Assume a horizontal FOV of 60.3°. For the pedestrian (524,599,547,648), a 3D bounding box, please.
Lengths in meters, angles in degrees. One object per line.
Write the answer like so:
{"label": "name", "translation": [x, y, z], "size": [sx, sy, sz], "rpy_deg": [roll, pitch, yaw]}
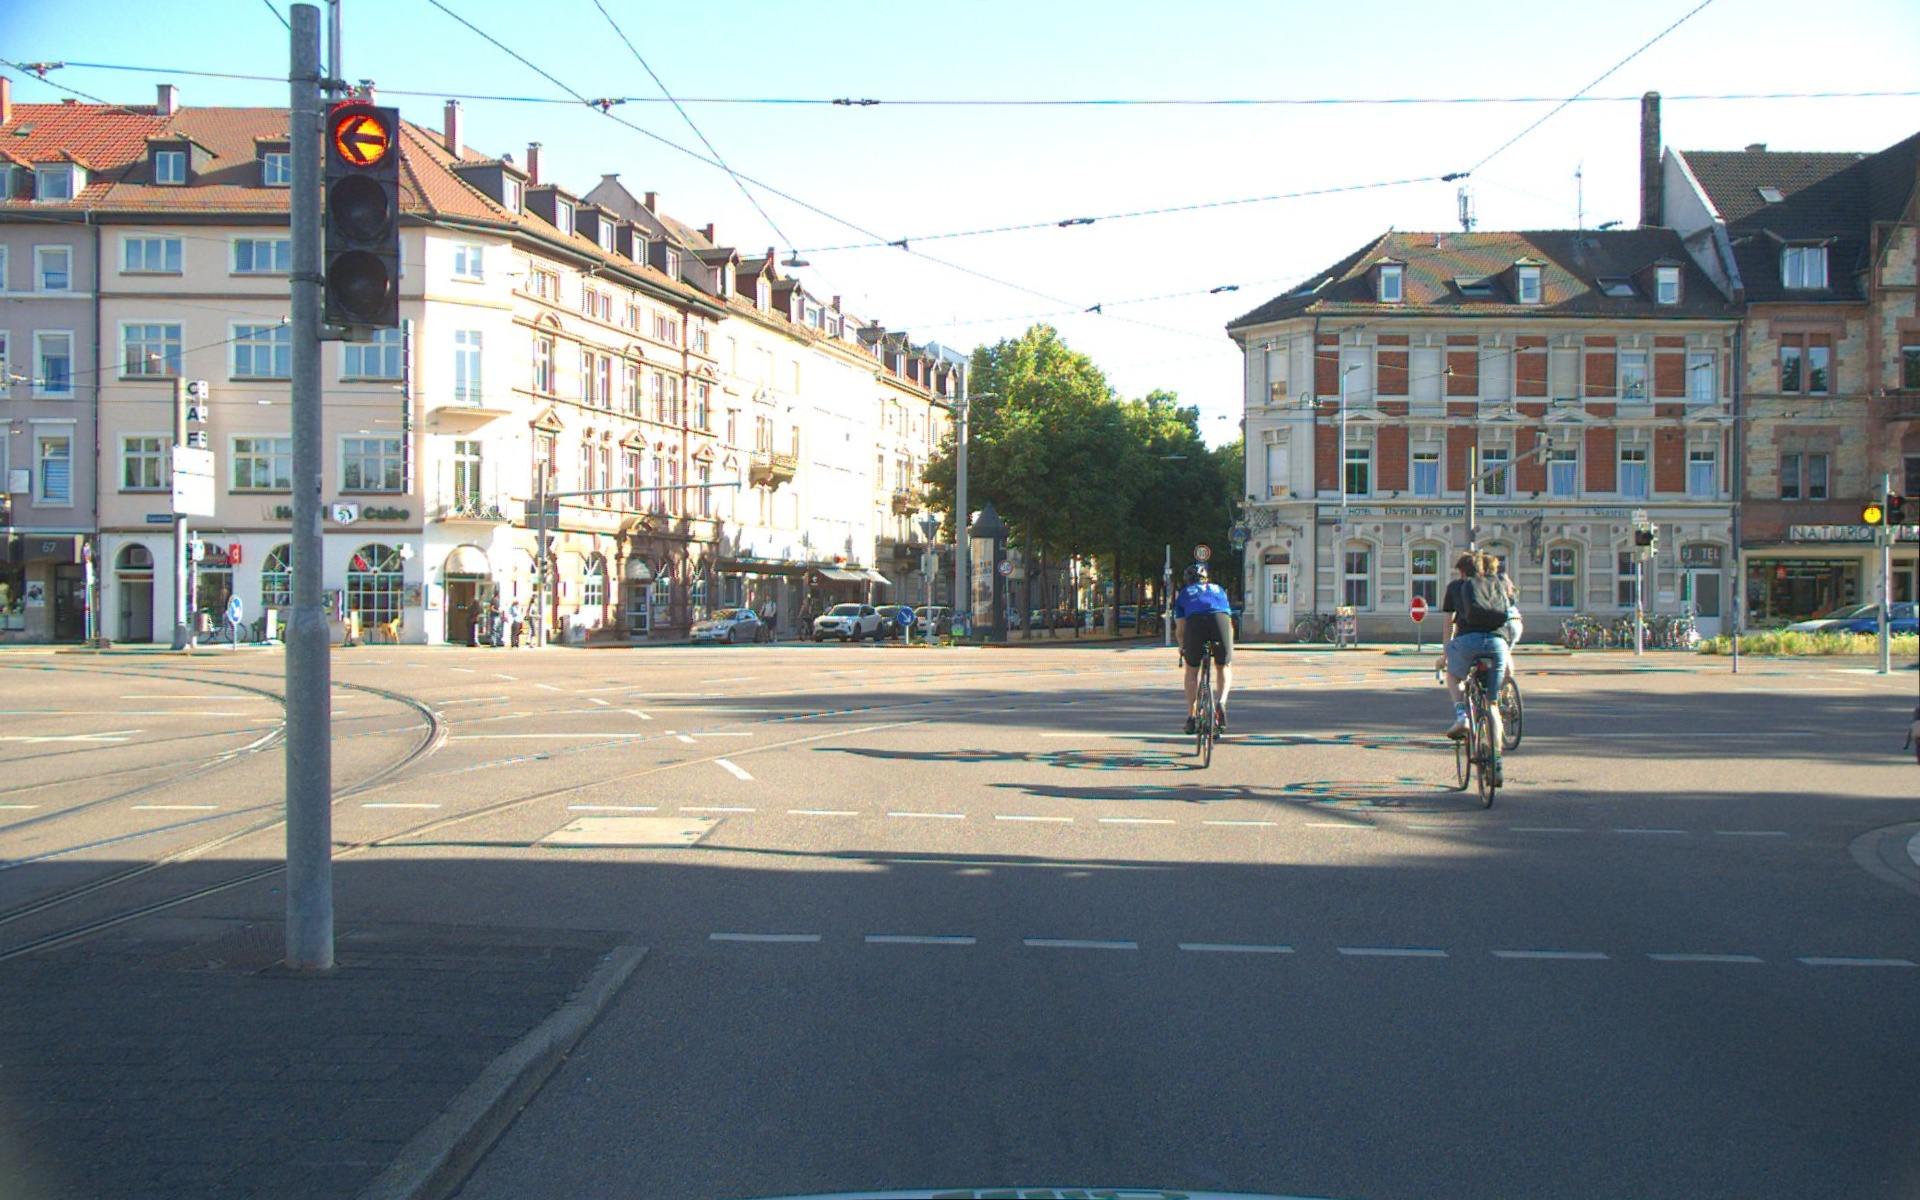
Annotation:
{"label": "pedestrian", "translation": [-14.609, 0.807, 56.986], "size": [0.620, 1.662, 0.700], "rpy_deg": [1, -1, -4]}

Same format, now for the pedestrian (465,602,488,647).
{"label": "pedestrian", "translation": [-16.355, 0.840, 55.919], "size": [0.620, 1.502, 0.465], "rpy_deg": [1, -1, -5]}

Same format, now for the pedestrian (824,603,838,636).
{"label": "pedestrian", "translation": [-6.703, 1.008, 85.882], "size": [0.532, 1.660, 0.707], "rpy_deg": [1, -1, 13]}

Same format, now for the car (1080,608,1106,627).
{"label": "car", "translation": [11.503, 1.500, 142.554], "size": [1.526, 1.540, 3.658], "rpy_deg": [1, 0, 16]}

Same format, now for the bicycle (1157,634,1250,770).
{"label": "bicycle", "translation": [2.131, 0.867, 14.649], "size": [0.613, 1.104, 1.703], "rpy_deg": [1, 0, 2]}

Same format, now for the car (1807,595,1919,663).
{"label": "car", "translation": [25.927, 0.807, 46.038], "size": [3.706, 1.809, 1.999], "rpy_deg": [1, 0, -2]}

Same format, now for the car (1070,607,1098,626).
{"label": "car", "translation": [10.228, 1.355, 136.150], "size": [1.526, 1.540, 3.658], "rpy_deg": [1, 0, 16]}

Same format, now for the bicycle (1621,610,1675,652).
{"label": "bicycle", "translation": [22.080, 0.973, 53.139], "size": [0.615, 1.309, 2.661], "rpy_deg": [1, 0, 0]}

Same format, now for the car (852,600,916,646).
{"label": "car", "translation": [-3.343, 1.015, 73.403], "size": [1.951, 1.937, 4.003], "rpy_deg": [1, 0, 11]}

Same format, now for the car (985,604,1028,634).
{"label": "car", "translation": [3.179, 1.294, 112.725], "size": [1.951, 1.937, 4.002], "rpy_deg": [1, 0, 16]}

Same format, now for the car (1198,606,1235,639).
{"label": "car", "translation": [12.866, 1.132, 82.764], "size": [1.655, 1.592, 3.844], "rpy_deg": [1, 0, 11]}

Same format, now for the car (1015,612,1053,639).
{"label": "car", "translation": [5.504, 1.880, 122.683], "size": [1.951, 1.937, 4.002], "rpy_deg": [1, 0, 16]}

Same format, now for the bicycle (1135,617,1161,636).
{"label": "bicycle", "translation": [11.280, 1.576, 99.212], "size": [0.619, 1.104, 1.685], "rpy_deg": [1, 0, -31]}

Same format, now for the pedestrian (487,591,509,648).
{"label": "pedestrian", "translation": [-15.880, 0.666, 56.831], "size": [0.620, 1.914, 0.465], "rpy_deg": [1, -1, -5]}

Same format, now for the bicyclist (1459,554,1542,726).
{"label": "bicyclist", "translation": [5.384, 0.388, 16.518], "size": [0.675, 1.662, 0.884], "rpy_deg": [1, -1, 11]}

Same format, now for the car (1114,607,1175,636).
{"label": "car", "translation": [12.849, 1.471, 115.140], "size": [3.902, 1.937, 2.001], "rpy_deg": [1, 0, 15]}

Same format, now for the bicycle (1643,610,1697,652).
{"label": "bicycle", "translation": [22.795, 0.977, 53.163], "size": [0.615, 1.309, 2.661], "rpy_deg": [1, 0, 0]}

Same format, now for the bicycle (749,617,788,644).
{"label": "bicycle", "translation": [-7.532, 1.210, 65.147], "size": [0.746, 1.025, 2.398], "rpy_deg": [1, 0, 13]}

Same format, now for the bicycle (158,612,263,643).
{"label": "bicycle", "translation": [-25.520, 0.946, 56.340], "size": [3.066, 0.997, 1.001], "rpy_deg": [1, 0, -1]}

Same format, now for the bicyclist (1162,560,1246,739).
{"label": "bicyclist", "translation": [2.142, 0.414, 14.602], "size": [0.625, 1.520, 0.884], "rpy_deg": [1, 1, 3]}

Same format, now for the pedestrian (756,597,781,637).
{"label": "pedestrian", "translation": [-7.544, 0.671, 65.076], "size": [0.803, 1.539, 0.598], "rpy_deg": [1, -1, 14]}

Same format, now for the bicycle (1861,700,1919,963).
{"label": "bicycle", "translation": [4.289, 0.960, 6.301], "size": [0.739, 1.049, 1.780], "rpy_deg": [1, 0, 0]}

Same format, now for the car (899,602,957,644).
{"label": "car", "translation": [-1.516, 1.073, 79.752], "size": [1.951, 1.937, 4.003], "rpy_deg": [1, 0, 11]}

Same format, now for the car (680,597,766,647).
{"label": "car", "translation": [-9.553, 0.881, 66.974], "size": [1.951, 1.937, 4.002], "rpy_deg": [1, 0, 17]}

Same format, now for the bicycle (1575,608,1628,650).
{"label": "bicycle", "translation": [20.592, 0.921, 53.115], "size": [0.678, 1.309, 2.661], "rpy_deg": [1, 0, 0]}

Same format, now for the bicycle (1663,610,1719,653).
{"label": "bicycle", "translation": [23.479, 0.994, 53.162], "size": [0.615, 1.309, 2.661], "rpy_deg": [1, 0, 0]}

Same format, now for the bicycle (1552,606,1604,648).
{"label": "bicycle", "translation": [19.832, 0.842, 53.149], "size": [0.678, 1.309, 2.661], "rpy_deg": [1, 0, 0]}

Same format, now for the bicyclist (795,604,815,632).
{"label": "bicyclist", "translation": [-6.622, 0.767, 70.617], "size": [0.618, 1.205, 0.685], "rpy_deg": [1, -1, 20]}

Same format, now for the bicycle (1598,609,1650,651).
{"label": "bicycle", "translation": [21.303, 0.934, 53.137], "size": [0.615, 1.309, 2.661], "rpy_deg": [1, 0, 0]}

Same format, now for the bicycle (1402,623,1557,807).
{"label": "bicycle", "translation": [3.866, 0.817, 12.439], "size": [0.739, 1.258, 1.704], "rpy_deg": [1, 0, 5]}

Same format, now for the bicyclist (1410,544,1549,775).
{"label": "bicyclist", "translation": [3.835, 0.425, 12.274], "size": [0.789, 1.634, 0.884], "rpy_deg": [1, -1, 5]}

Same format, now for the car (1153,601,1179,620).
{"label": "car", "translation": [16.809, 0.842, 134.907], "size": [1.526, 1.540, 3.658], "rpy_deg": [1, 0, 16]}

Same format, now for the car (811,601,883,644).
{"label": "car", "translation": [-4.551, 0.900, 67.247], "size": [1.951, 1.646, 4.003], "rpy_deg": [1, 0, 11]}

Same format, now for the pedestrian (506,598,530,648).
{"label": "pedestrian", "translation": [-14.864, 0.769, 55.660], "size": [0.620, 1.662, 0.700], "rpy_deg": [1, -1, -4]}

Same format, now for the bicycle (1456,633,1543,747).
{"label": "bicycle", "translation": [5.402, 0.874, 16.636], "size": [0.635, 1.049, 1.772], "rpy_deg": [1, 0, 12]}

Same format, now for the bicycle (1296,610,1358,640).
{"label": "bicycle", "translation": [12.694, 0.872, 57.248], "size": [2.006, 1.015, 0.631], "rpy_deg": [0, -1, 2]}

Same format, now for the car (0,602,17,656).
{"label": "car", "translation": [-32.390, 0.918, 52.419], "size": [3.902, 1.699, 2.002], "rpy_deg": [0, 0, 8]}

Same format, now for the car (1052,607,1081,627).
{"label": "car", "translation": [8.497, 1.364, 132.197], "size": [1.526, 1.540, 3.658], "rpy_deg": [1, 0, 16]}

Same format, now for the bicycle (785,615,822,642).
{"label": "bicycle", "translation": [-6.671, 1.197, 70.507], "size": [0.637, 1.142, 2.253], "rpy_deg": [1, 0, 20]}
